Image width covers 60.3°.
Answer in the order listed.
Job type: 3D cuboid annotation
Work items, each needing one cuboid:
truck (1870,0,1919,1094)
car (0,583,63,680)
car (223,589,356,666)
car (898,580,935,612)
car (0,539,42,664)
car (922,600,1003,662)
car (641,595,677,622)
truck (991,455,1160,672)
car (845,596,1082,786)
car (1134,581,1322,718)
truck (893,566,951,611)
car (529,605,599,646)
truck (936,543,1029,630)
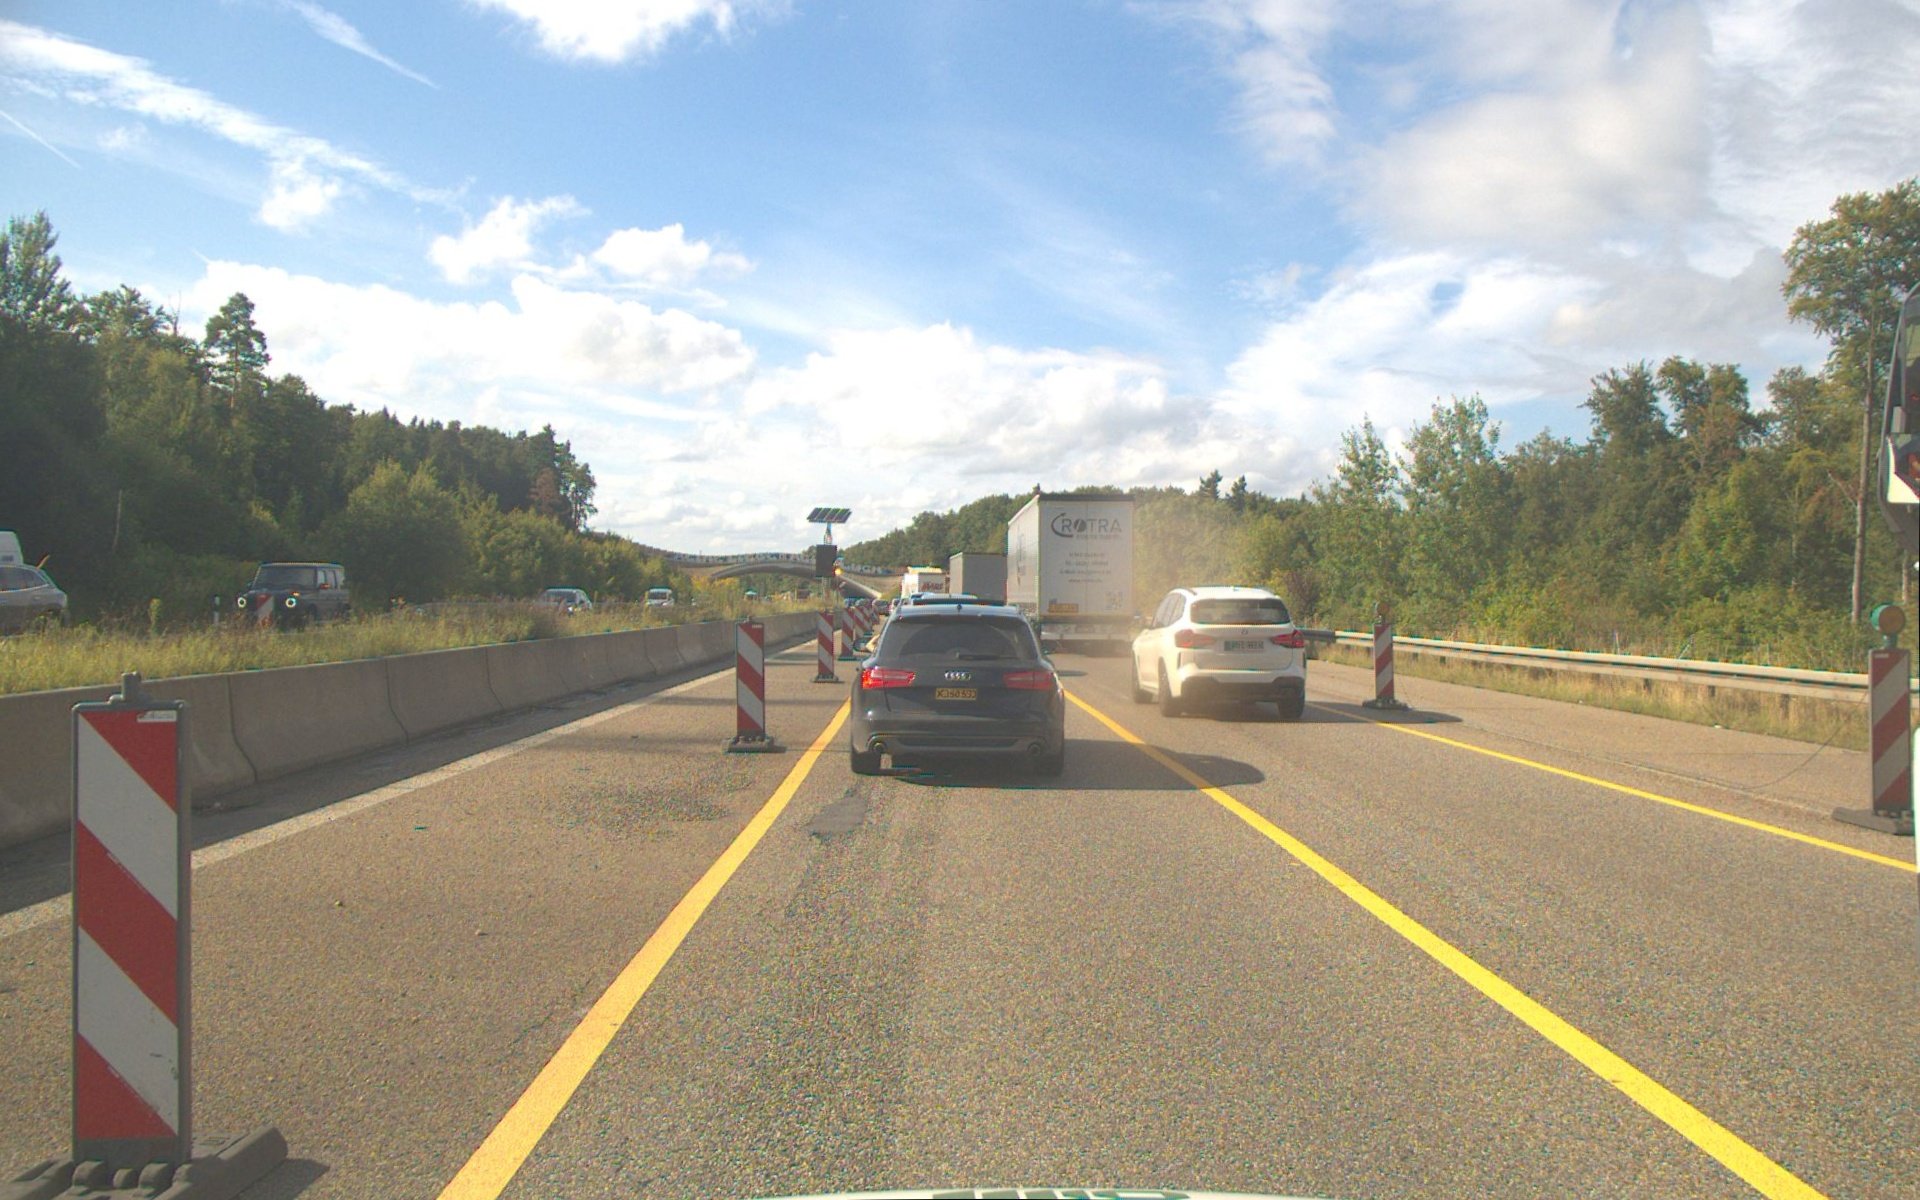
[{"bbox_3d":[4.861,-0.598,1.449,3.684,4.270,7.949,1,0,-1],"label":"truck"},{"bbox_3d":[-17.882,0.542,29.081,1.742,1.718,4.616,1,0,-1],"label":"car"},{"bbox_3d":[-18.006,0.707,44.667,1.742,1.936,4.616,1,0,-1],"label":"car"},{"bbox_3d":[-2.437,-0.213,92.188,1.853,1.672,4.014,1,0,-4],"label":"car"},{"bbox_3d":[-22.018,0.013,34.628,1.987,2.731,6.521,1,0,-1],"label":"car"},{"bbox_3d":[0.017,0.756,42.256,1.852,1.472,3.998,1,0,-3],"label":"car"},{"bbox_3d":[-20.600,0.566,113.345,1.742,1.817,4.364,1,0,-1],"label":"car"},{"bbox_3d":[3.082,-0.890,50.072,3.603,5.447,16.196,1,0,-1],"label":"truck"},{"bbox_3d":[-0.002,0.731,15.078,1.852,1.472,3.999,1,0,-1],"label":"car"},{"bbox_3d":[3.558,0.626,22.634,1.852,1.672,4.017,1,0,-1],"label":"car"},{"bbox_3d":[-3.597,-1.054,154.182,3.588,3.997,11.037,1,0,-11],"label":"truck"},{"bbox_3d":[-15.053,0.934,63.051,1.742,1.482,4.104,1,0,-1],"label":"car"},{"bbox_3d":[1.173,-0.723,95.745,4.235,4.681,11.112,1,0,-5],"label":"truck"}]
